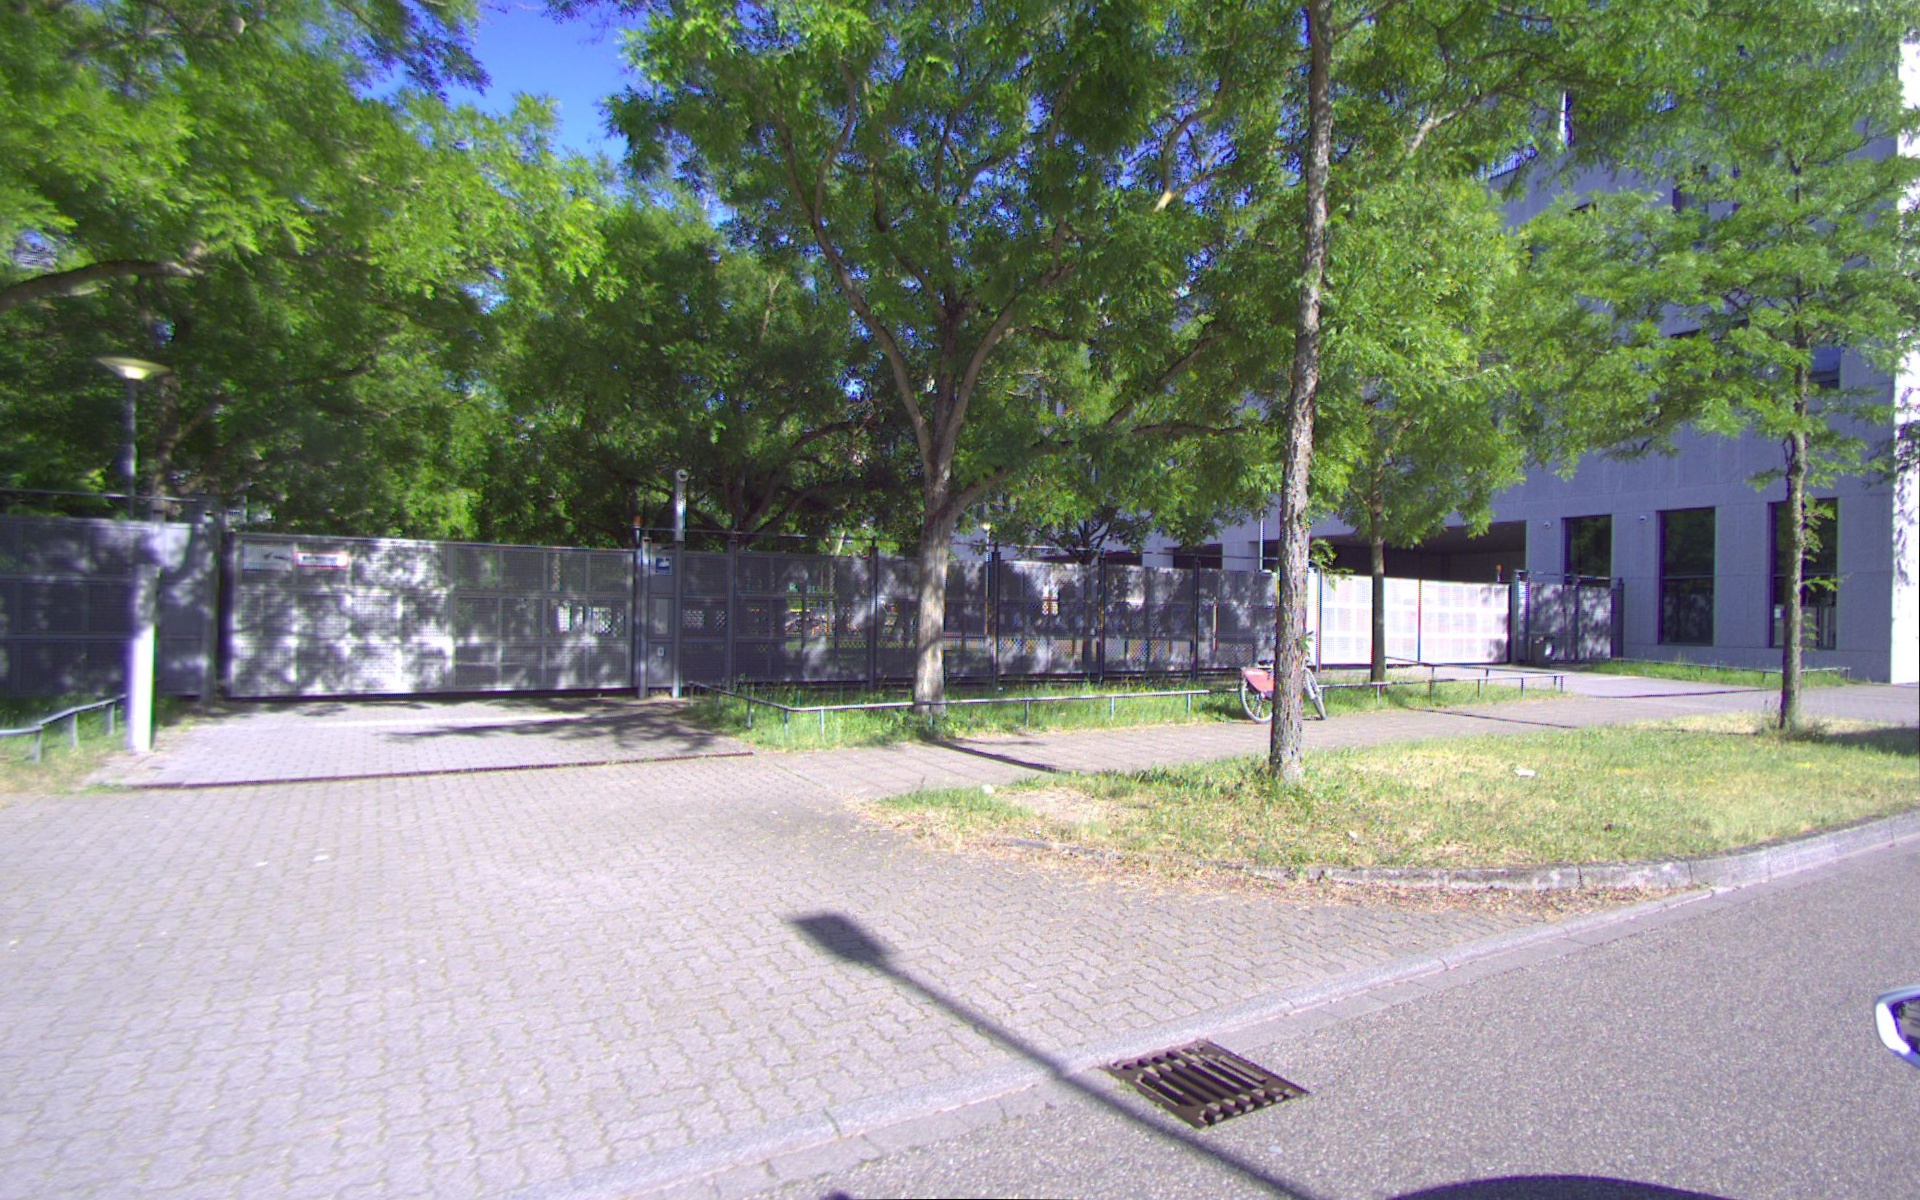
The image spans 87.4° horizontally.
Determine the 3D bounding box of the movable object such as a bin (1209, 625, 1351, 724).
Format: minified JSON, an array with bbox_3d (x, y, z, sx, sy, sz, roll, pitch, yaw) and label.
[{"bbox_3d":[4.193,0.941,13.120,1.913,1.197,0.660,1,-1,-30],"label":"movable object such as a bin"}]
